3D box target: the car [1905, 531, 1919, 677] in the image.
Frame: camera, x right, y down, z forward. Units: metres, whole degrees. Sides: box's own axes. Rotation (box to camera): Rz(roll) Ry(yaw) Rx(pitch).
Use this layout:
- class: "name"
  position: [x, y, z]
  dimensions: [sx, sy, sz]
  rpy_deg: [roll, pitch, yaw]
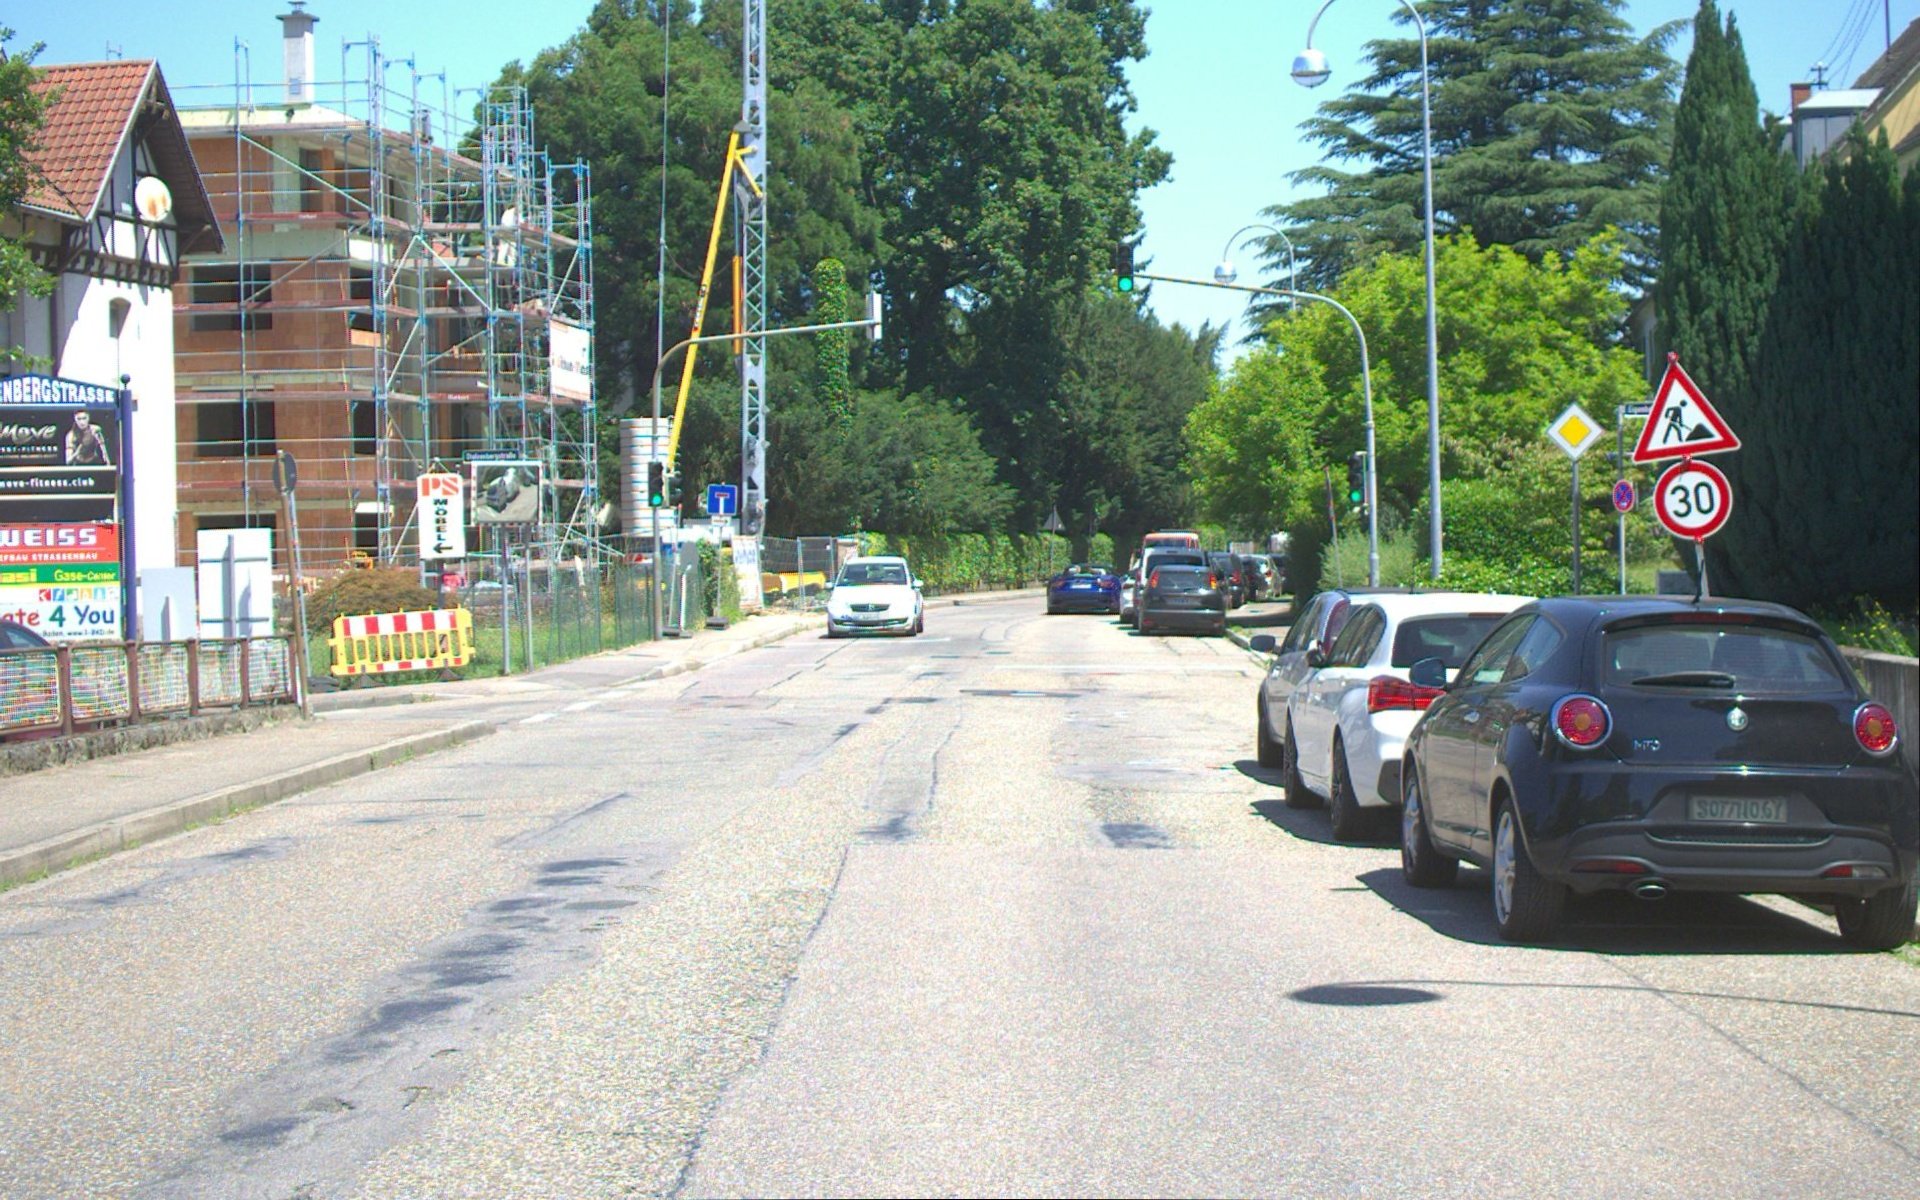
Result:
- class: "car"
  position: [12.678, -0.080, 37.791]
  dimensions: [3.987, 1.634, 2.000]
  rpy_deg: [-4, 0, 3]

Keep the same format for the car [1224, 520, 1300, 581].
- class: "car"
  position: [8.572, -1.391, 97.277]
  dimensions: [1.994, 1.656, 3.999]
  rpy_deg: [-2, 0, 7]

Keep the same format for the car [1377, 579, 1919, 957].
- class: "car"
  position: [3.046, 0.650, 15.491]
  dimensions: [1.761, 1.446, 3.840]
  rpy_deg: [-1, 1, -1]

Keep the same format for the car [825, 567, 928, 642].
- class: "car"
  position: [-1.667, 0.076, 69.828]
  dimensions: [1.761, 1.446, 3.839]
  rpy_deg: [-1, 1, 4]

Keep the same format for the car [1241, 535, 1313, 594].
- class: "car"
  position: [9.435, -1.050, 102.133]
  dimensions: [1.994, 1.656, 3.999]
  rpy_deg: [-2, 0, 7]

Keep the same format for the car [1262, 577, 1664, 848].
- class: "car"
  position: [2.932, 0.605, 20.818]
  dimensions: [1.761, 1.446, 3.890]
  rpy_deg: [-1, 1, -1]

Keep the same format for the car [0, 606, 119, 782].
- class: "car"
  position: [-8.454, 0.785, 28.727]
  dimensions: [1.660, 1.384, 3.534]
  rpy_deg: [-2, 0, 6]

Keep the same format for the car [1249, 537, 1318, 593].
- class: "car"
  position: [10.081, -1.098, 107.041]
  dimensions: [1.994, 1.656, 3.999]
  rpy_deg: [-2, 0, 7]

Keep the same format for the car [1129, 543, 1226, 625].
- class: "car"
  position: [4.721, -0.354, 74.501]
  dimensions: [1.994, 1.656, 3.999]
  rpy_deg: [-2, 0, 4]

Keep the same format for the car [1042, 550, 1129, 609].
- class: "car"
  position: [3.308, -0.561, 90.019]
  dimensions: [1.959, 1.463, 3.999]
  rpy_deg: [-1, 1, 6]

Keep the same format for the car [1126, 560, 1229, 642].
- class: "car"
  position: [4.427, -0.004, 69.857]
  dimensions: [1.994, 1.568, 3.999]
  rpy_deg: [-2, 0, 4]

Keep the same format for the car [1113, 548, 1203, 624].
- class: "car"
  position: [4.614, -0.332, 79.938]
  dimensions: [1.994, 1.656, 3.999]
  rpy_deg: [-2, 0, 4]
